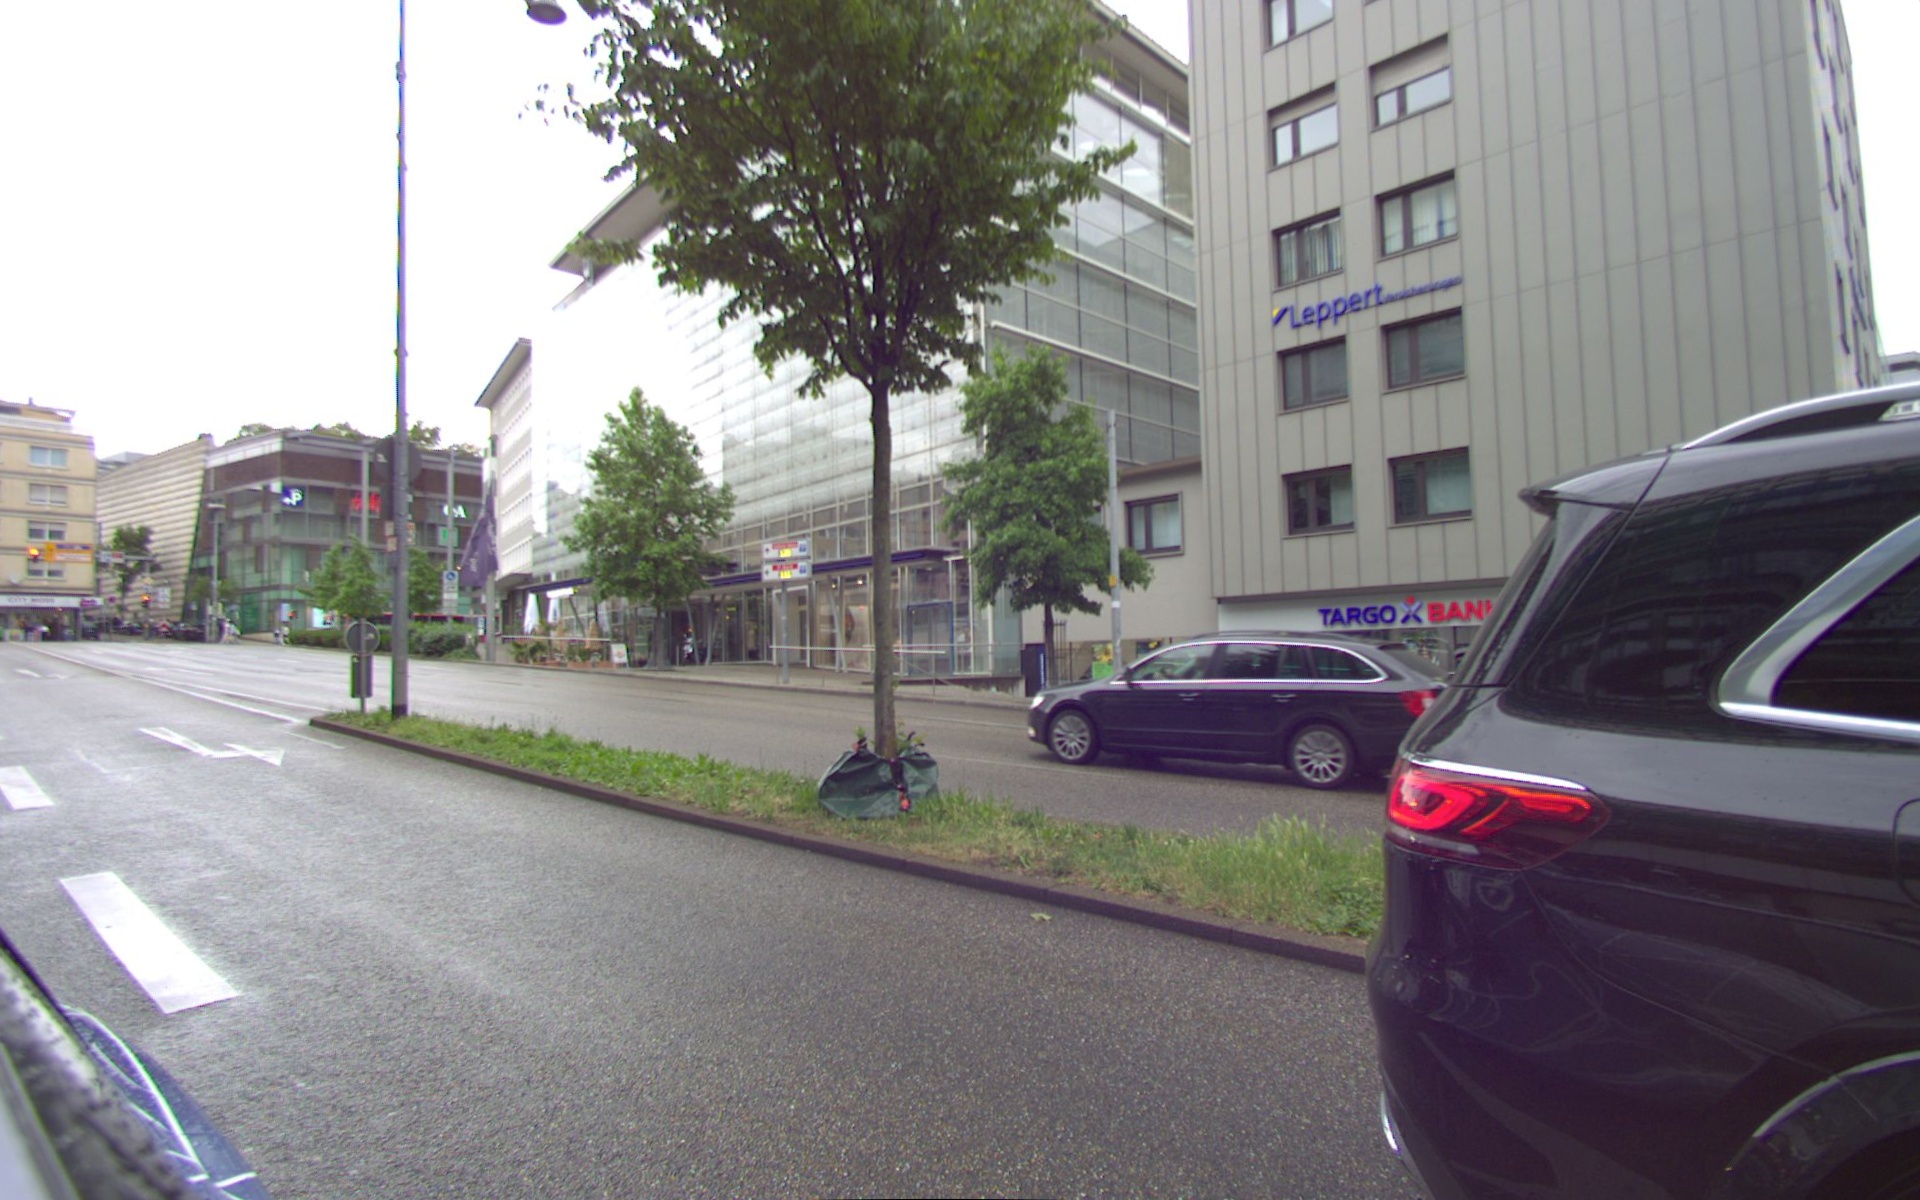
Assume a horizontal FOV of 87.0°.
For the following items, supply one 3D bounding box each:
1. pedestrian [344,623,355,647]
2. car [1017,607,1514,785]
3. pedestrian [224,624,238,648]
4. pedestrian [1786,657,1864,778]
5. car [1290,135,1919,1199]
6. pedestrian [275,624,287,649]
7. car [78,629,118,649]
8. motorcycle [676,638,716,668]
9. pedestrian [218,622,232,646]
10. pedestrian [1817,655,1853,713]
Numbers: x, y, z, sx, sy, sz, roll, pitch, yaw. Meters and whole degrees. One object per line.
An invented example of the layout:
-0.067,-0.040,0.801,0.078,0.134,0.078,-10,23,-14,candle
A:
-46.282,2.634,76.723,0.618,1.788,0.689,0,0,-45,pedestrian
2.992,0.978,10.665,4.732,1.497,1.617,-4,-6,39,car
-49.912,2.474,69.312,0.603,1.642,0.625,-1,-3,44,pedestrian
12.638,1.689,14.790,0.626,1.649,0.791,0,0,-41,pedestrian
3.093,0.382,0.801,5.069,1.884,1.892,0,0,40,car
-50.272,2.684,74.950,0.617,1.788,0.689,0,0,-43,pedestrian
-90.254,4.058,105.989,4.575,2.029,1.977,0,-2,34,car
-12.016,2.425,46.038,0.620,1.336,1.685,-1,-3,41,motorcycle
-50.990,2.342,70.222,0.602,1.642,0.625,-1,-3,42,pedestrian
26.726,2.543,30.924,0.724,1.710,0.781,0,-3,34,pedestrian
